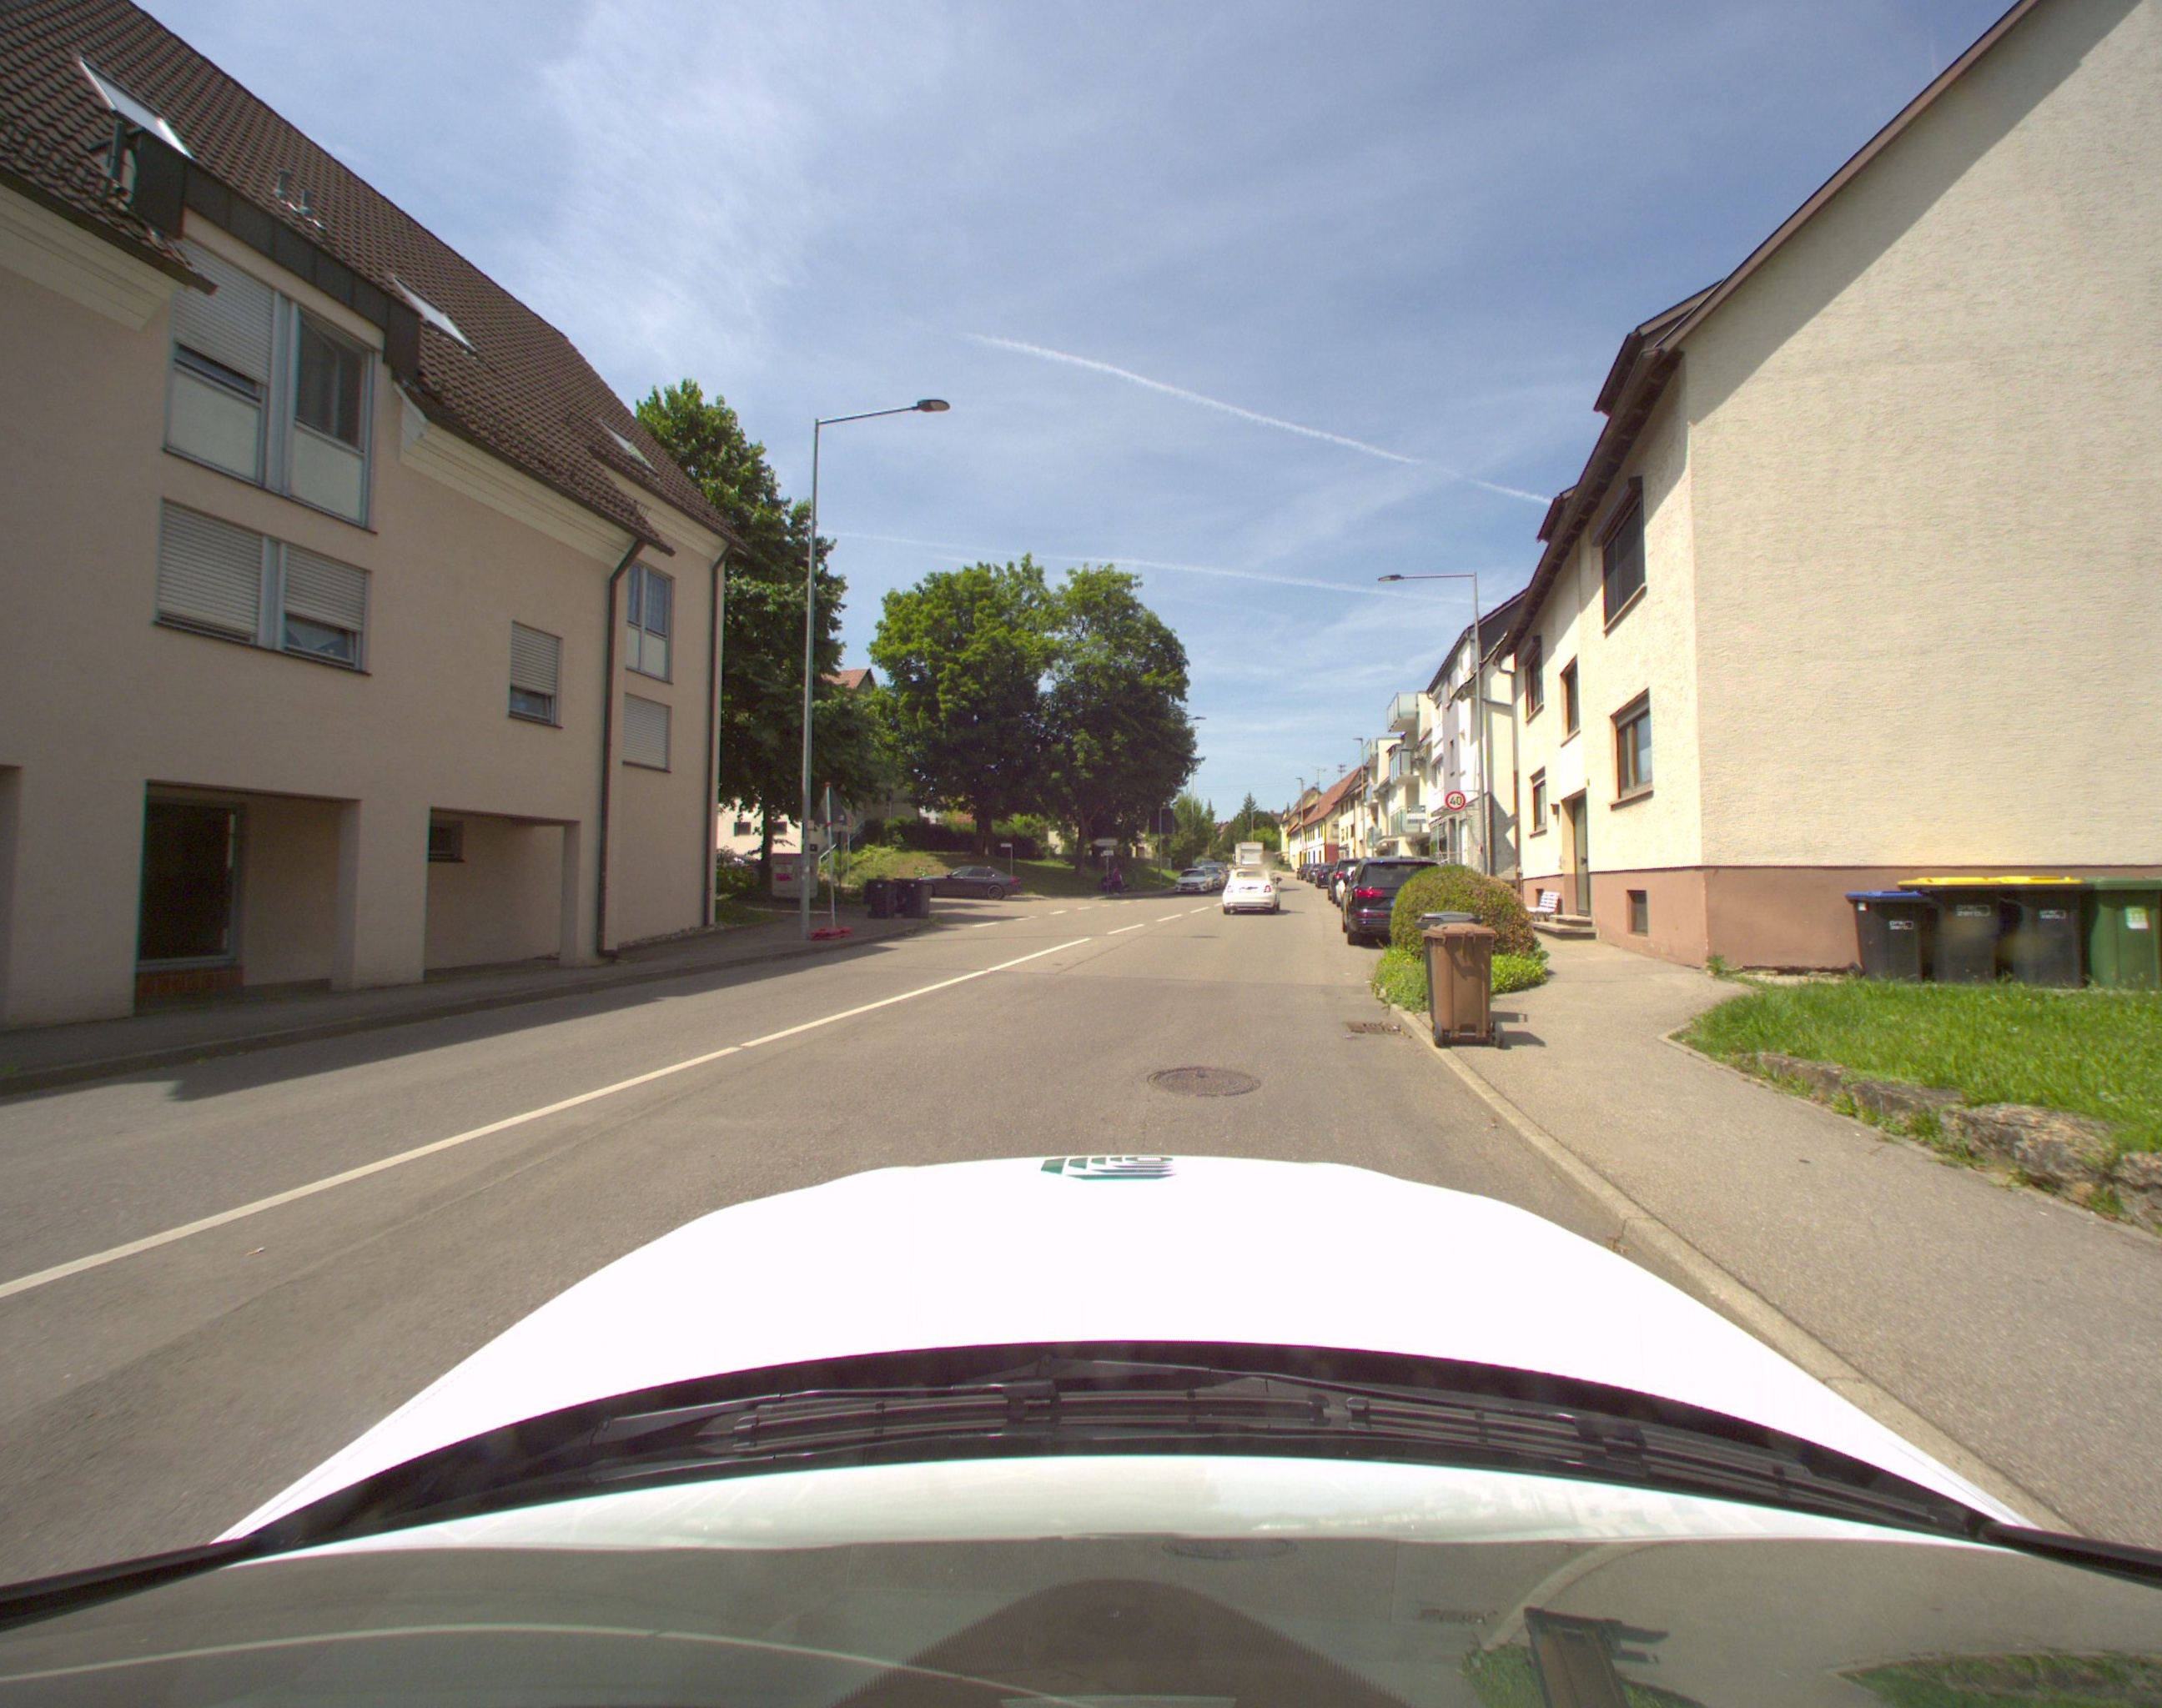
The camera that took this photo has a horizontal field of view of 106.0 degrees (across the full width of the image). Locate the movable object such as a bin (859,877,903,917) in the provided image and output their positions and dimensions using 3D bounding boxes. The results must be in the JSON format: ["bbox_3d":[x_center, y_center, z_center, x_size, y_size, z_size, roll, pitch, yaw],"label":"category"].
[{"bbox_3d":[-5.303,1.120,21.594,0.794,1.000,0.808,1,-1,18],"label":"movable object such as a bin"}]

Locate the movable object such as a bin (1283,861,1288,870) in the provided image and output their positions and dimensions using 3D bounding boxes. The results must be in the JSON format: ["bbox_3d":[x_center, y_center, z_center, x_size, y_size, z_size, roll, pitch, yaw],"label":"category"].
[{"bbox_3d":[25.366,1.407,100.951,0.544,1.033,0.552,-4,-1,6],"label":"movable object such as a bin"}]

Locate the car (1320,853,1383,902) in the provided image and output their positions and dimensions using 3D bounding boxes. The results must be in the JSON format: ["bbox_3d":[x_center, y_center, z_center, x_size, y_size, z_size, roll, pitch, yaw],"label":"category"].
[{"bbox_3d":[10.777,0.902,32.713,1.939,1.716,4.734,-4,-1,14],"label":"car"}]

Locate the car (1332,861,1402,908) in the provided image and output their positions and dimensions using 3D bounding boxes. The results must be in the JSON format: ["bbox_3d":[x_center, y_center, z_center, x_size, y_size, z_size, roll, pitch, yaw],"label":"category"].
[{"bbox_3d":[9.641,0.984,27.767,1.776,1.455,4.734,-1,-1,14],"label":"car"}]

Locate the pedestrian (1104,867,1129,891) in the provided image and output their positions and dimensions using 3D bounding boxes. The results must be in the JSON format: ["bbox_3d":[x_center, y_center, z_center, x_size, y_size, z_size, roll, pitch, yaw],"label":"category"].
[{"bbox_3d":[1.921,1.337,43.991,1.226,1.269,0.649,1,-1,19],"label":"pedestrian"}]

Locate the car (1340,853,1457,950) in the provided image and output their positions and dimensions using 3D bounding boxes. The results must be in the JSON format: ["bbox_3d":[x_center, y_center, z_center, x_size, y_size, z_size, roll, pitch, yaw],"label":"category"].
[{"bbox_3d":[6.284,0.858,16.583,1.829,1.670,4.675,0,-1,16],"label":"car"}]

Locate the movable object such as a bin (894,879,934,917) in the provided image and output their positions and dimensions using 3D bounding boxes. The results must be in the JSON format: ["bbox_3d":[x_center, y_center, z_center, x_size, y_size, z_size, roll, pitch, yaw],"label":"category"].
[{"bbox_3d":[-4.532,1.183,22.116,0.844,1.000,0.697,0,-1,18],"label":"movable object such as a bin"}]

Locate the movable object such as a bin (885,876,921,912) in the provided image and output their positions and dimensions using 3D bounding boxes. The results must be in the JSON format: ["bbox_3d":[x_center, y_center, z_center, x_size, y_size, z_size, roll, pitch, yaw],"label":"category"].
[{"bbox_3d":[-5.279,1.193,24.114,0.765,1.000,0.611,3,-2,18],"label":"movable object such as a bin"}]

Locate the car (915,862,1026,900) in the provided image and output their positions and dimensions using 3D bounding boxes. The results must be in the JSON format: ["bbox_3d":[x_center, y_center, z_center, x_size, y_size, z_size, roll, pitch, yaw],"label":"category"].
[{"bbox_3d":[-4.924,1.207,36.883,4.764,1.479,1.998,3,-1,-3],"label":"car"}]

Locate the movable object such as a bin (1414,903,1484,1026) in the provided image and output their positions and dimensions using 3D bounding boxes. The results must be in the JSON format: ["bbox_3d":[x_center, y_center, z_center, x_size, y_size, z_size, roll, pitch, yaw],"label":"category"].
[{"bbox_3d":[3.276,0.956,7.246,0.519,0.993,0.505,0,-1,30],"label":"movable object such as a bin"}]

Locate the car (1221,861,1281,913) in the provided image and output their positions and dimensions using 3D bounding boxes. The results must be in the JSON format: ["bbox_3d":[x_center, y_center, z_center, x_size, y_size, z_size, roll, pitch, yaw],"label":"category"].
[{"bbox_3d":[5.633,1.020,26.629,1.712,1.560,4.015,-1,-1,14],"label":"car"}]

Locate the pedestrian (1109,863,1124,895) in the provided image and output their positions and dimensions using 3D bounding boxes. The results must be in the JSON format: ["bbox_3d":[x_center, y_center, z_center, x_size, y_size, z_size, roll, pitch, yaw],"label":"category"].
[{"bbox_3d":[1.842,1.303,42.257,0.728,1.617,0.629,1,-1,-1],"label":"pedestrian"}]

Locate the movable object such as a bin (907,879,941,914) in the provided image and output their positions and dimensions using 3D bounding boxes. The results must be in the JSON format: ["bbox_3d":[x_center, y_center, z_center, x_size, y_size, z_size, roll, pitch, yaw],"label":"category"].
[{"bbox_3d":[-4.831,1.303,25.039,0.765,1.000,0.612,3,-2,19],"label":"movable object such as a bin"}]

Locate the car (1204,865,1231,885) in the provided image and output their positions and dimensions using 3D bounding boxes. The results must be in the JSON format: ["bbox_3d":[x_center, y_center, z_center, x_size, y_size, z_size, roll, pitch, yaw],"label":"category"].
[{"bbox_3d":[10.745,1.598,63.756,1.792,1.424,4.945,-2,0,12],"label":"car"}]

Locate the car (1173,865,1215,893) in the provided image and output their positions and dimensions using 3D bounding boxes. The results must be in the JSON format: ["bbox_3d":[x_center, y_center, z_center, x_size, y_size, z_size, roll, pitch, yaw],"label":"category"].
[{"bbox_3d":[6.501,1.403,46.514,1.742,1.467,4.380,-3,-1,15],"label":"car"}]

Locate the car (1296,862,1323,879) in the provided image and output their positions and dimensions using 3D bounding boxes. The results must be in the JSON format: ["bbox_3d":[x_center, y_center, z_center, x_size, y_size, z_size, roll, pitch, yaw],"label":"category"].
[{"bbox_3d":[18.960,1.351,67.790,1.656,1.352,4.196,-1,-1,8],"label":"car"}]

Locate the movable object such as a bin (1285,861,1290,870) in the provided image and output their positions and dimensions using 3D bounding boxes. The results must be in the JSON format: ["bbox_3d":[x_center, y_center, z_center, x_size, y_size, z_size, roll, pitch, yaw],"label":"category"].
[{"bbox_3d":[25.137,1.409,99.156,0.544,1.033,0.552,-4,-1,6],"label":"movable object such as a bin"}]

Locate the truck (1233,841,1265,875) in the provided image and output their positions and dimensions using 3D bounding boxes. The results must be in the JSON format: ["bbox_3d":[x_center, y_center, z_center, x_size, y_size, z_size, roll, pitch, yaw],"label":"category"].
[{"bbox_3d":[19.685,0.528,96.044,3.052,3.774,7.883,-1,-1,7],"label":"truck"}]

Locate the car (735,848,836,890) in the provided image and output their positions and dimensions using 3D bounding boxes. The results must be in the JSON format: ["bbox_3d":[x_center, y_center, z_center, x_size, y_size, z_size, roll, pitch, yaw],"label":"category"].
[{"bbox_3d":[-13.678,0.708,37.721,3.955,1.684,1.918,3,-1,19],"label":"car"}]

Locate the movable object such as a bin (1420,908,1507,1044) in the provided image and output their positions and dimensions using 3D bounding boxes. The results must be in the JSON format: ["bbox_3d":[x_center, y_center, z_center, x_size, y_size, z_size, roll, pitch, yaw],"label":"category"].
[{"bbox_3d":[3.017,0.940,6.451,0.497,0.993,0.505,0,-1,7],"label":"movable object such as a bin"}]

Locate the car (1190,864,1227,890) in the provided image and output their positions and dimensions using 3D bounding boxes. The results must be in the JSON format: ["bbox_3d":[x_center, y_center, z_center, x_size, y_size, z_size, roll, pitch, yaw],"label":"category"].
[{"bbox_3d":[8.215,1.445,52.252,1.759,1.527,4.240,-3,-1,16],"label":"car"}]

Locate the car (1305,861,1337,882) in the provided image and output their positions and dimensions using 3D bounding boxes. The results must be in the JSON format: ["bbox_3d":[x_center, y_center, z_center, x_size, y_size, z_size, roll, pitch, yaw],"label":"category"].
[{"bbox_3d":[17.393,1.215,59.163,1.782,1.403,4.425,-2,-1,11],"label":"car"}]

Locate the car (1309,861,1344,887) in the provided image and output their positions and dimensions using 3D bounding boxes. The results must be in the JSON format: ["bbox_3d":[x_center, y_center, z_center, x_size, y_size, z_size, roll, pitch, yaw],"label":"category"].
[{"bbox_3d":[14.559,1.189,48.427,1.784,1.425,4.306,-2,-1,14],"label":"car"}]
